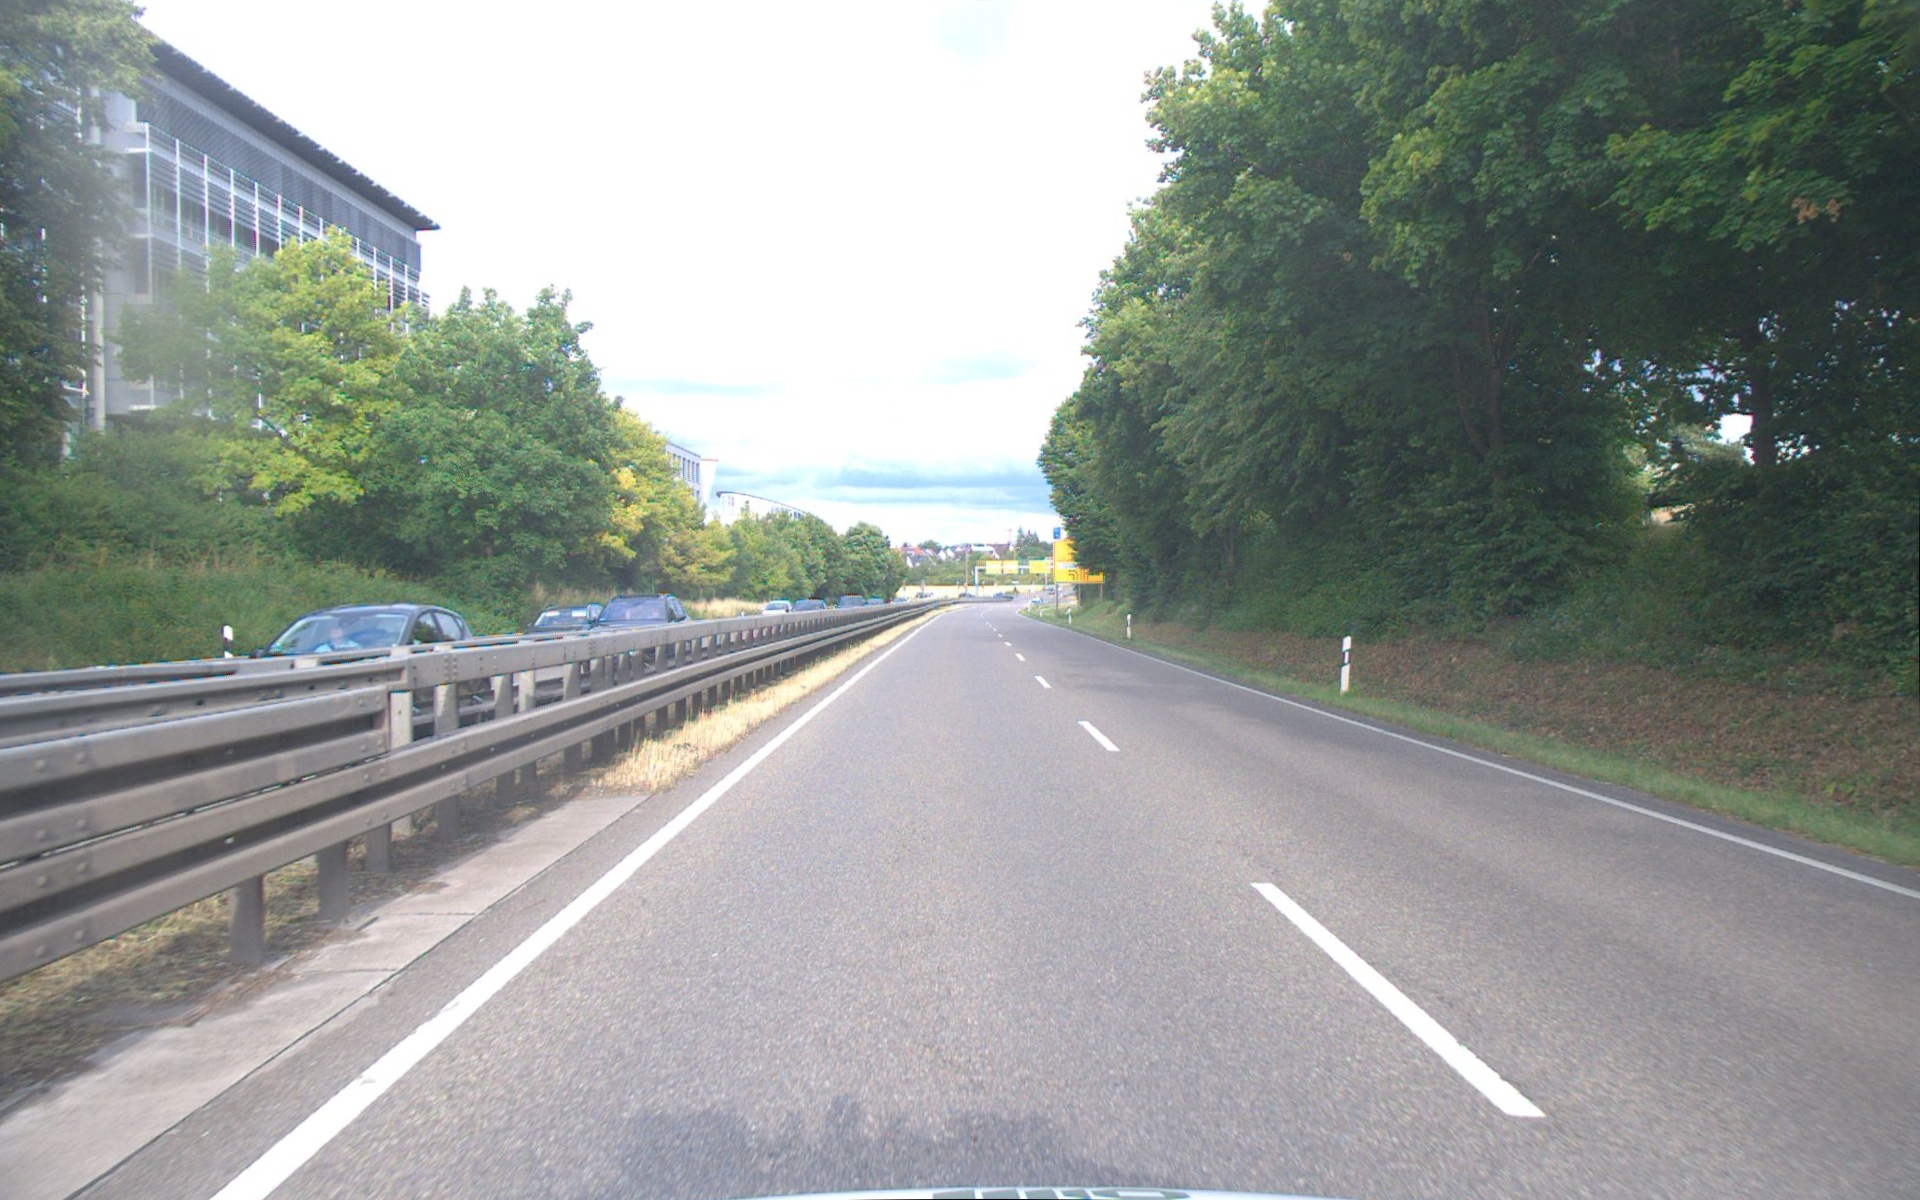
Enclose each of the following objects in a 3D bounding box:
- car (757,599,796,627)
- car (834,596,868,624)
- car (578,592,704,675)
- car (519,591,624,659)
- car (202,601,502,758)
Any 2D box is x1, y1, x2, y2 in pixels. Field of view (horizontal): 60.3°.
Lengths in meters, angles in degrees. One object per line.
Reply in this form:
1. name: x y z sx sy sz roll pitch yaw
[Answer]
1. car: -10.441 0.727 94.413 1.780 1.511 4.416 1 0 -1
2. car: -6.667 0.589 101.566 1.707 1.673 5.279 -1 0 0
3. car: -6.589 0.660 34.633 1.783 1.611 4.316 -1 0 0
4. car: -9.935 0.609 42.607 1.707 1.617 4.311 2 0 -1
5. car: -5.942 0.707 16.637 1.641 1.376 3.831 0 0 -1
